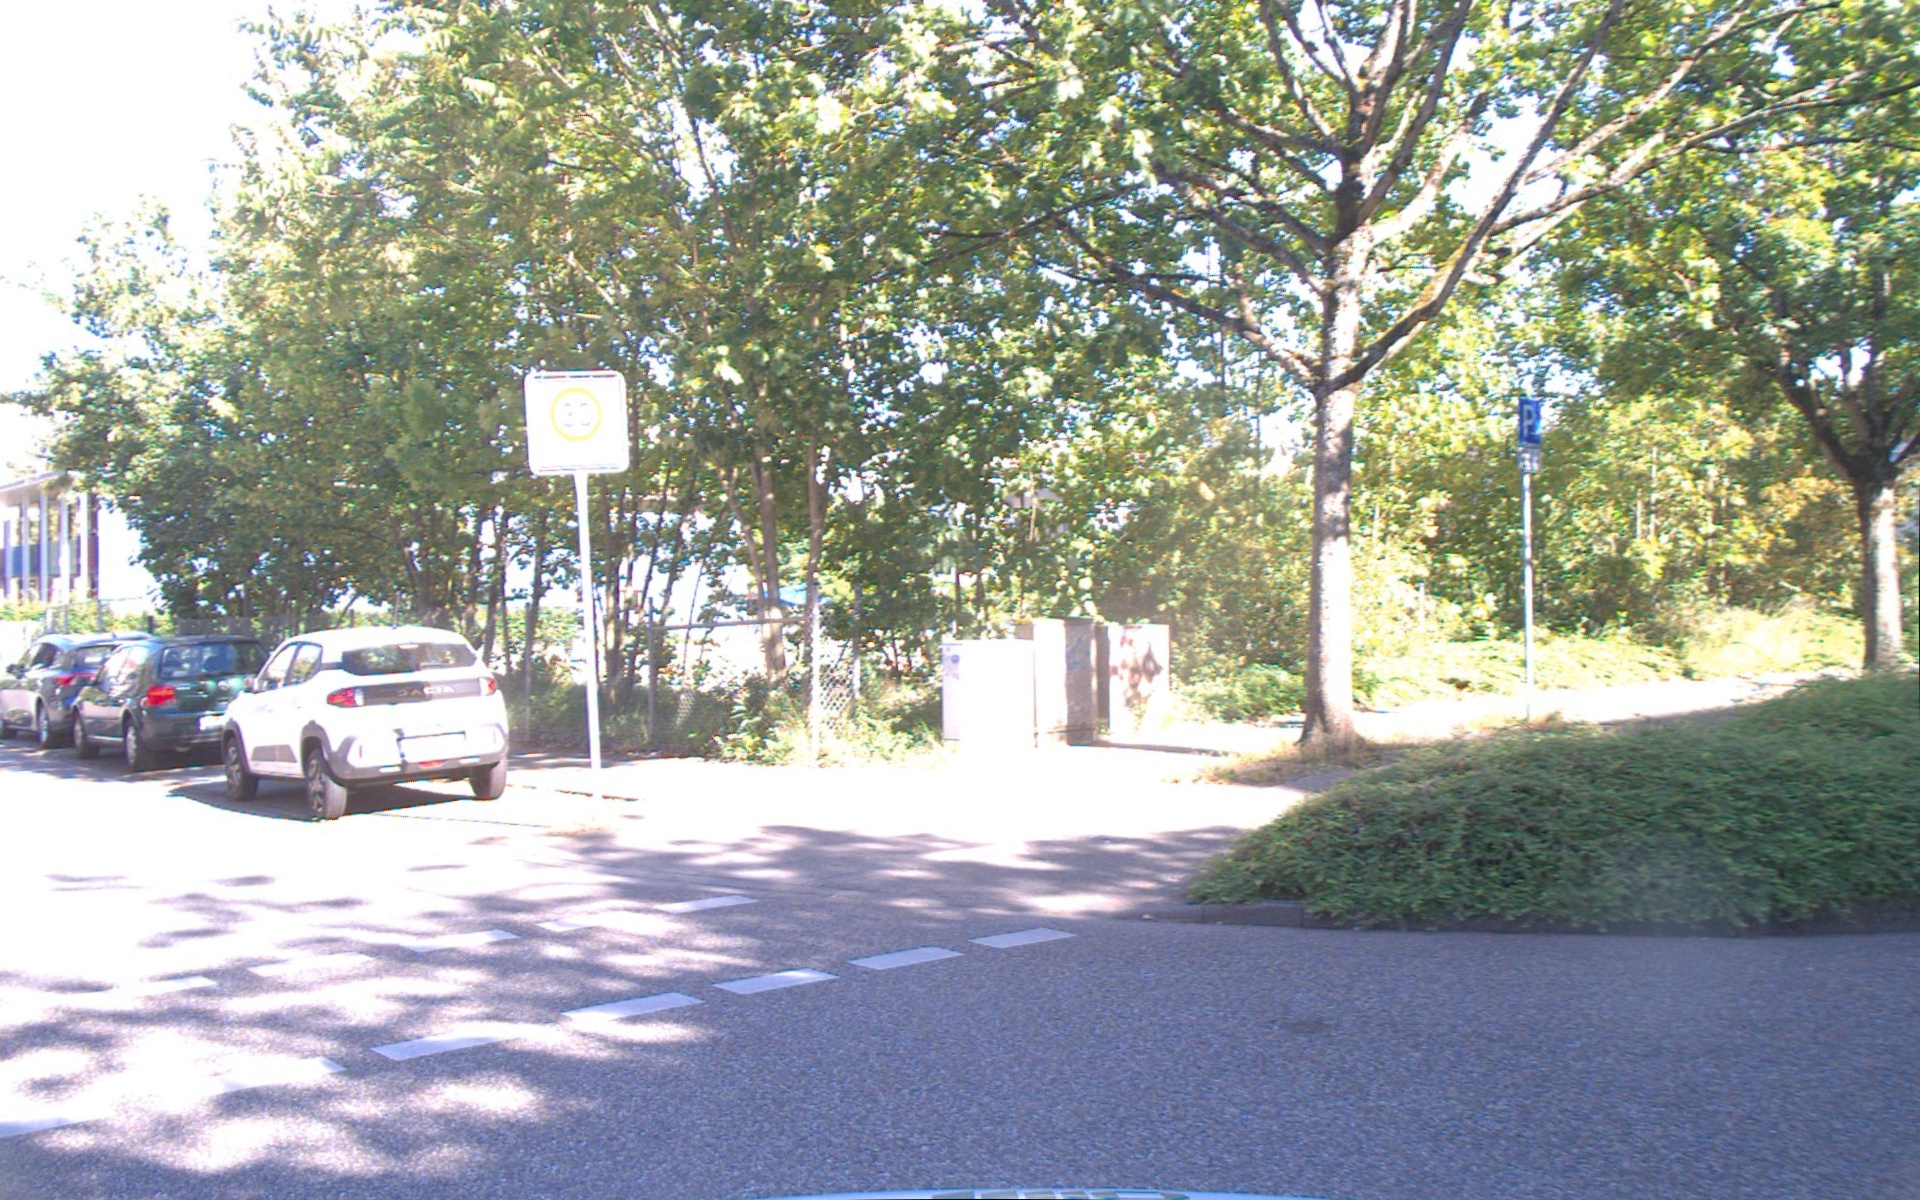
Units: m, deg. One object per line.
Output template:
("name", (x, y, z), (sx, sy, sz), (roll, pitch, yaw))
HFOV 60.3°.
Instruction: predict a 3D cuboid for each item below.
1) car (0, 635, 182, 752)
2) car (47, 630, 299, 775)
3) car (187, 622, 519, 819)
("car", (-12.497, 1.245, 23.299), (1.667, 1.463, 4.372), (0, -1, -41))
("car", (-9.390, 1.132, 19.566), (1.813, 1.497, 4.010), (0, -1, -39))
("car", (-5.512, 0.994, 14.722), (1.608, 1.476, 4.034), (0, -2, -38))
